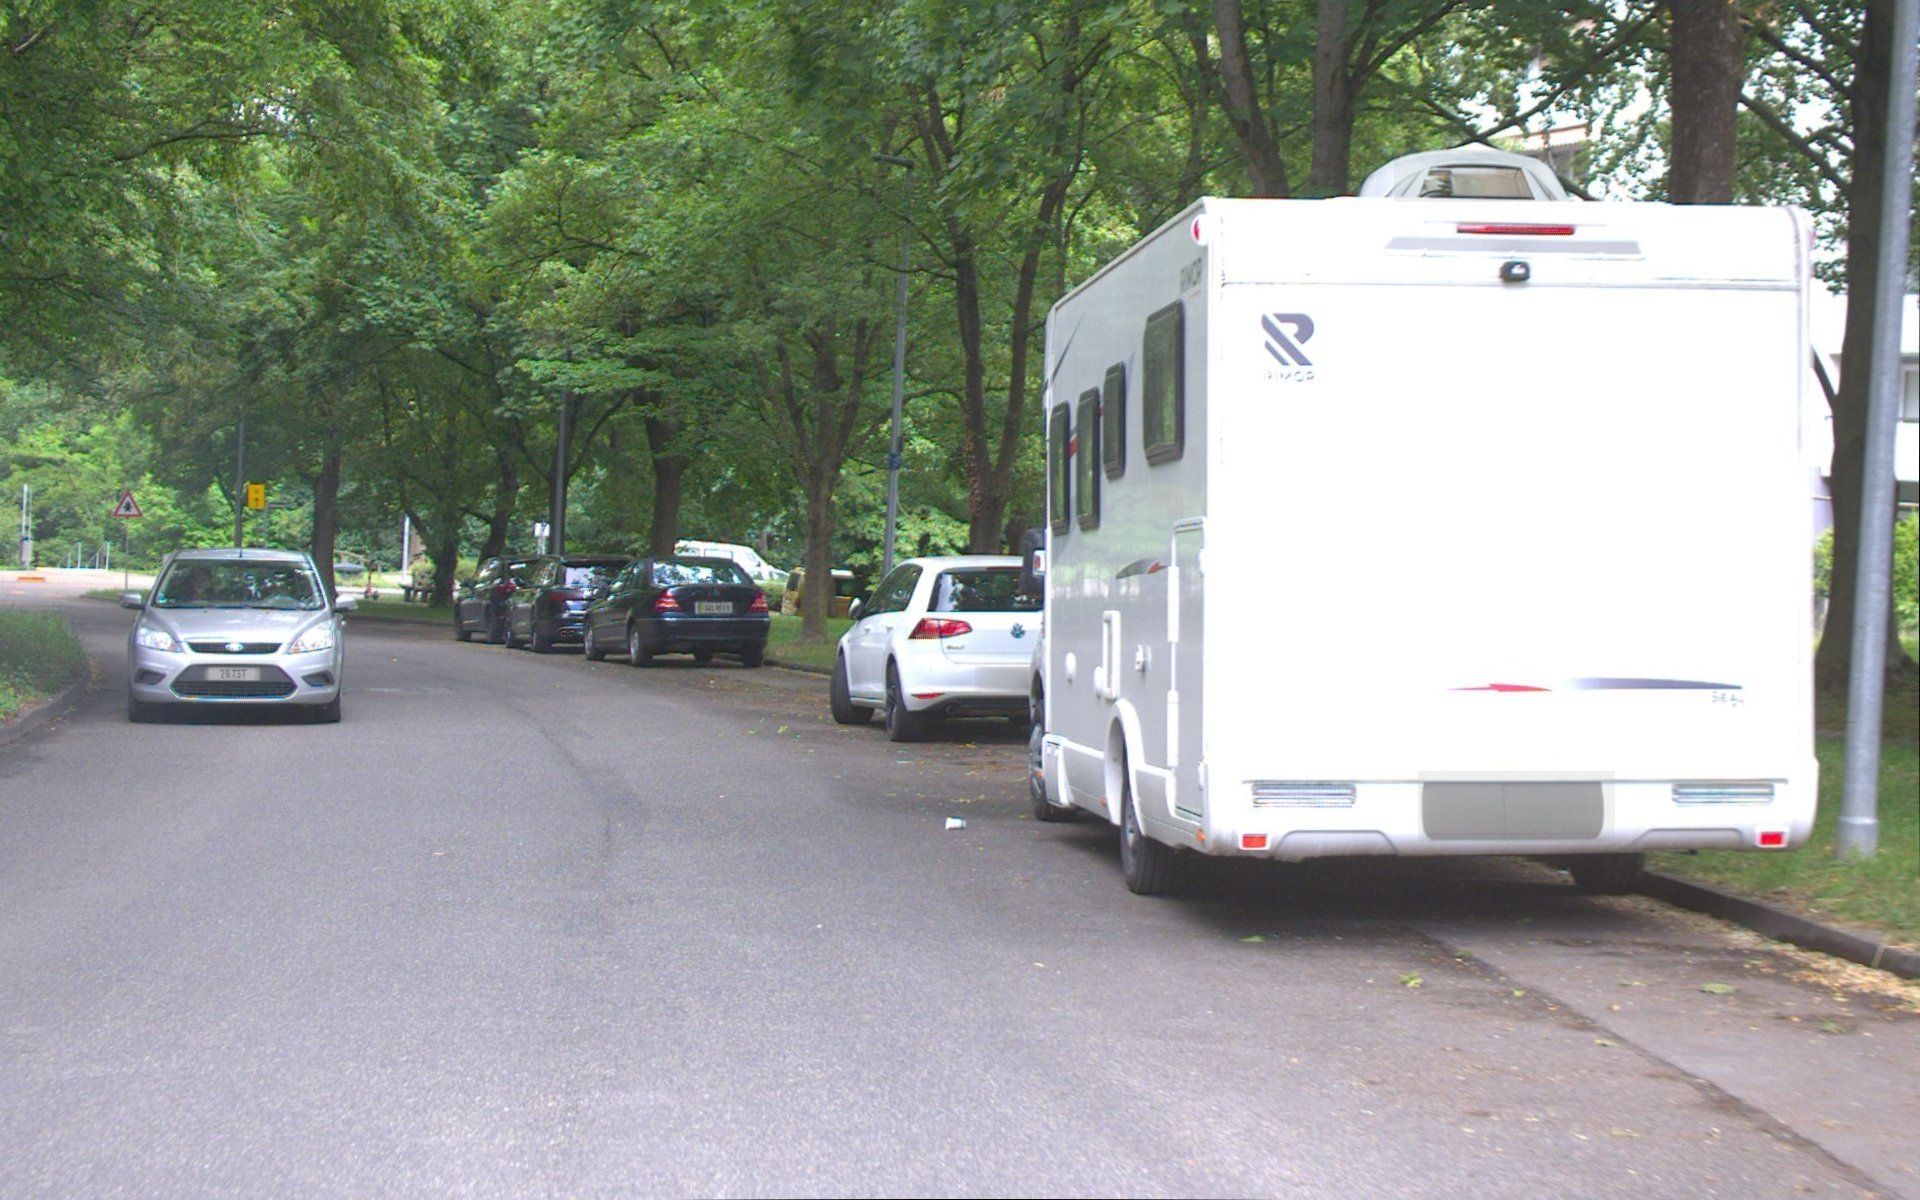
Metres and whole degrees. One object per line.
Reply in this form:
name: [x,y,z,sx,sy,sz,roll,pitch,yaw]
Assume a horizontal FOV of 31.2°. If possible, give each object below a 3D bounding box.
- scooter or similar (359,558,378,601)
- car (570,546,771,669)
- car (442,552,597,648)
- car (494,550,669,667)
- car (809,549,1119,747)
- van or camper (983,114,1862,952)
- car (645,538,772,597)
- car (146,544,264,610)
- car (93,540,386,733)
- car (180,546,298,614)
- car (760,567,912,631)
scooter or similar: [-17.631,-0.614,102.469,0.283,1.282,1.108,2,0,-24]
car: [-3.831,0.064,44.821,1.588,1.460,4.318,1,1,-19]
car: [-7.223,-0.028,56.057,1.681,1.459,3.899,1,1,-20]
car: [-5.661,0.091,50.932,1.913,1.606,4.736,1,1,-14]
car: [-0.050,0.339,28.143,1.688,1.477,4.108,1,1,-12]
van or camper: [1.710,-0.272,16.116,2.424,2.969,7.394,1,1,-5]
car: [-9.195,-1.187,125.575,4.204,2.007,2.001,1,1,-21]
car: [-18.496,-0.569,84.111,1.774,1.517,3.781,1,1,-29]
car: [-6.116,0.271,29.598,1.794,1.503,4.000,1,1,-2]
car: [-17.029,-0.493,81.092,1.773,1.517,4.184,1,1,-25]
car: [-3.909,-0.025,108.028,4.395,1.842,1.833,2,1,-17]
